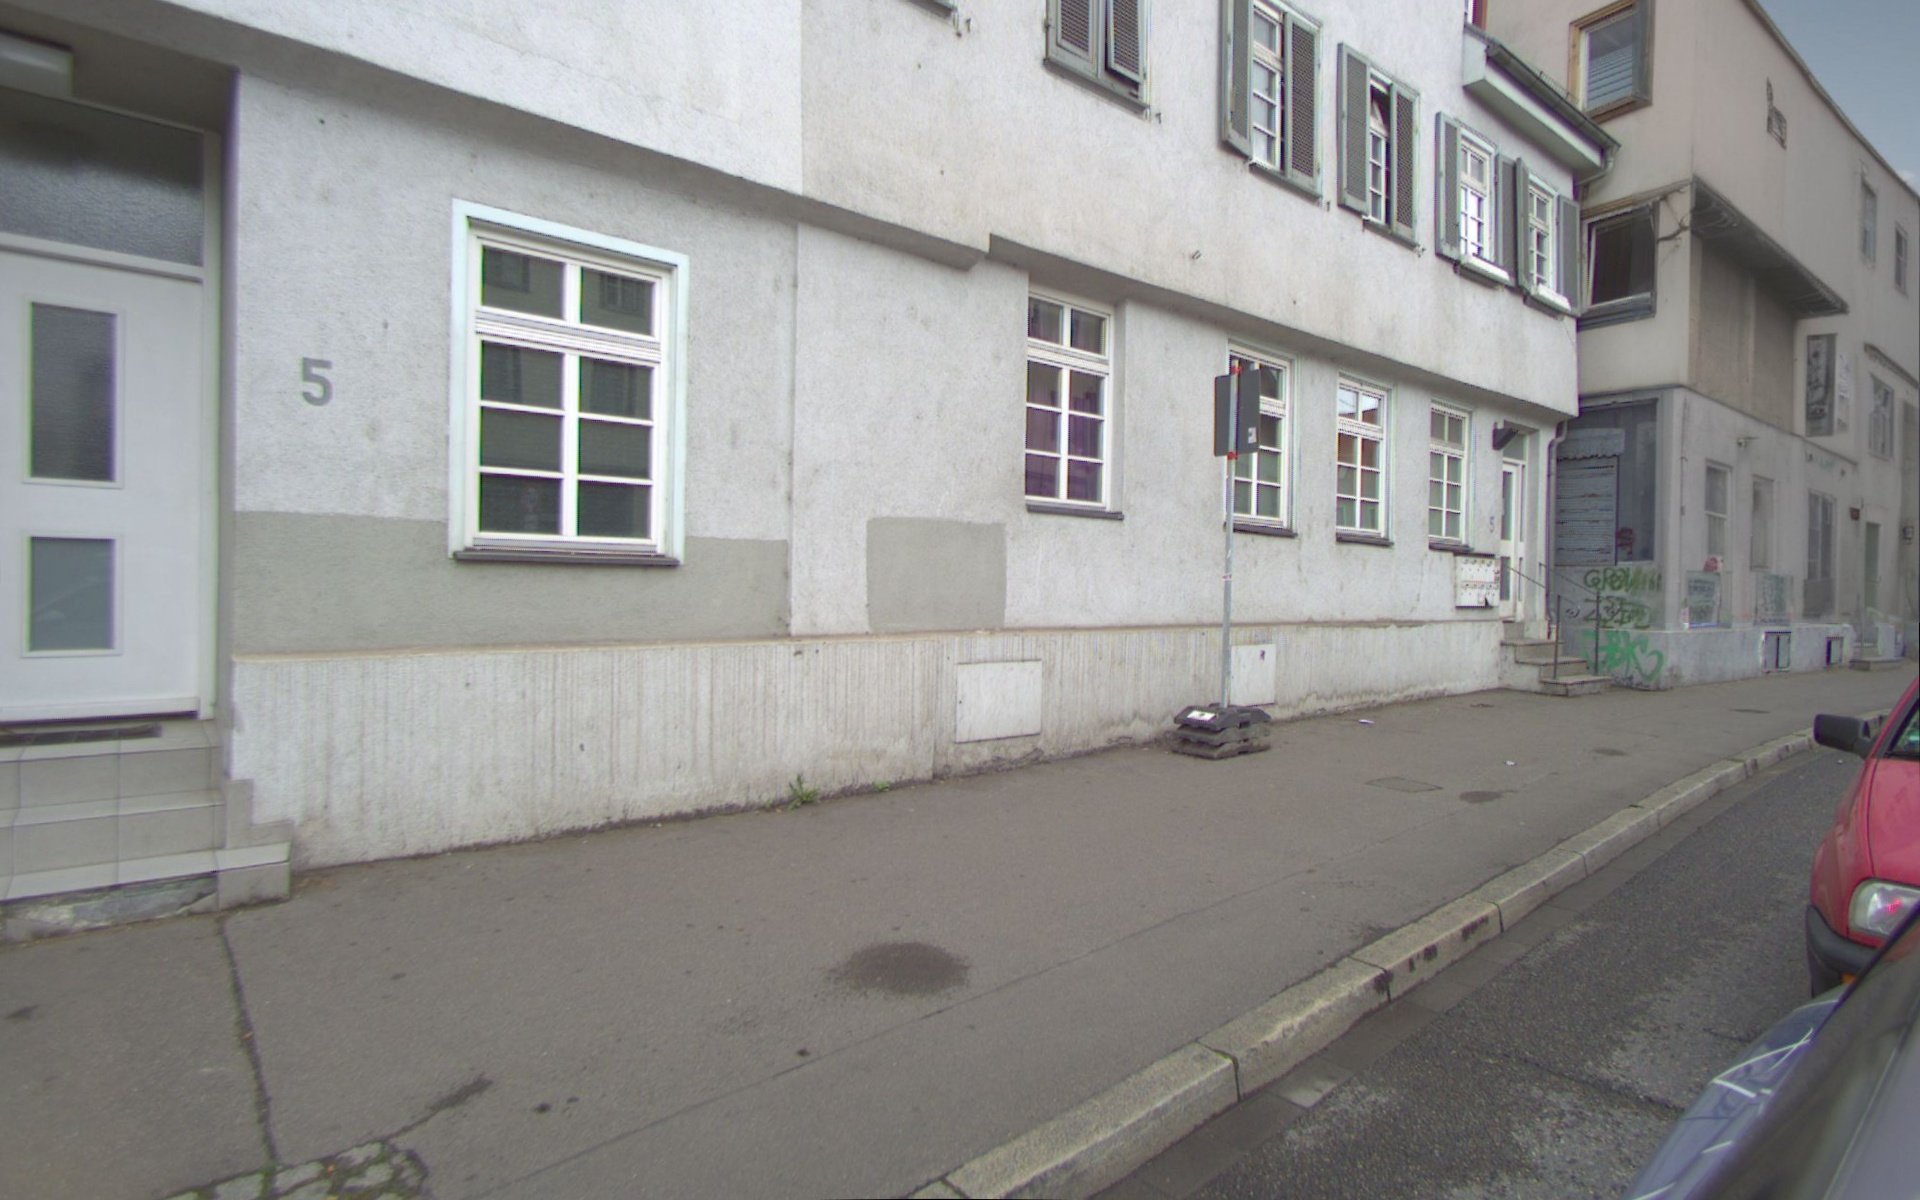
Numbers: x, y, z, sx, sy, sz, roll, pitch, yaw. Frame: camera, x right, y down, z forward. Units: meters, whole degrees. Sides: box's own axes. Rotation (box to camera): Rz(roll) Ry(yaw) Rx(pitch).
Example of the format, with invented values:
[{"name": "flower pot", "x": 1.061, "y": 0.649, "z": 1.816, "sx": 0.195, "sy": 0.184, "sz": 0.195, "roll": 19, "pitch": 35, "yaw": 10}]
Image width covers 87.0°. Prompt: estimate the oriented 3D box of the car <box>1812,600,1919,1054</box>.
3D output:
[{"name": "car", "x": 5.048, "y": 0.739, "z": 4.112, "sx": 3.930, "sy": 1.485, "sz": 1.802, "roll": 0, "pitch": -2, "yaw": -41}]
